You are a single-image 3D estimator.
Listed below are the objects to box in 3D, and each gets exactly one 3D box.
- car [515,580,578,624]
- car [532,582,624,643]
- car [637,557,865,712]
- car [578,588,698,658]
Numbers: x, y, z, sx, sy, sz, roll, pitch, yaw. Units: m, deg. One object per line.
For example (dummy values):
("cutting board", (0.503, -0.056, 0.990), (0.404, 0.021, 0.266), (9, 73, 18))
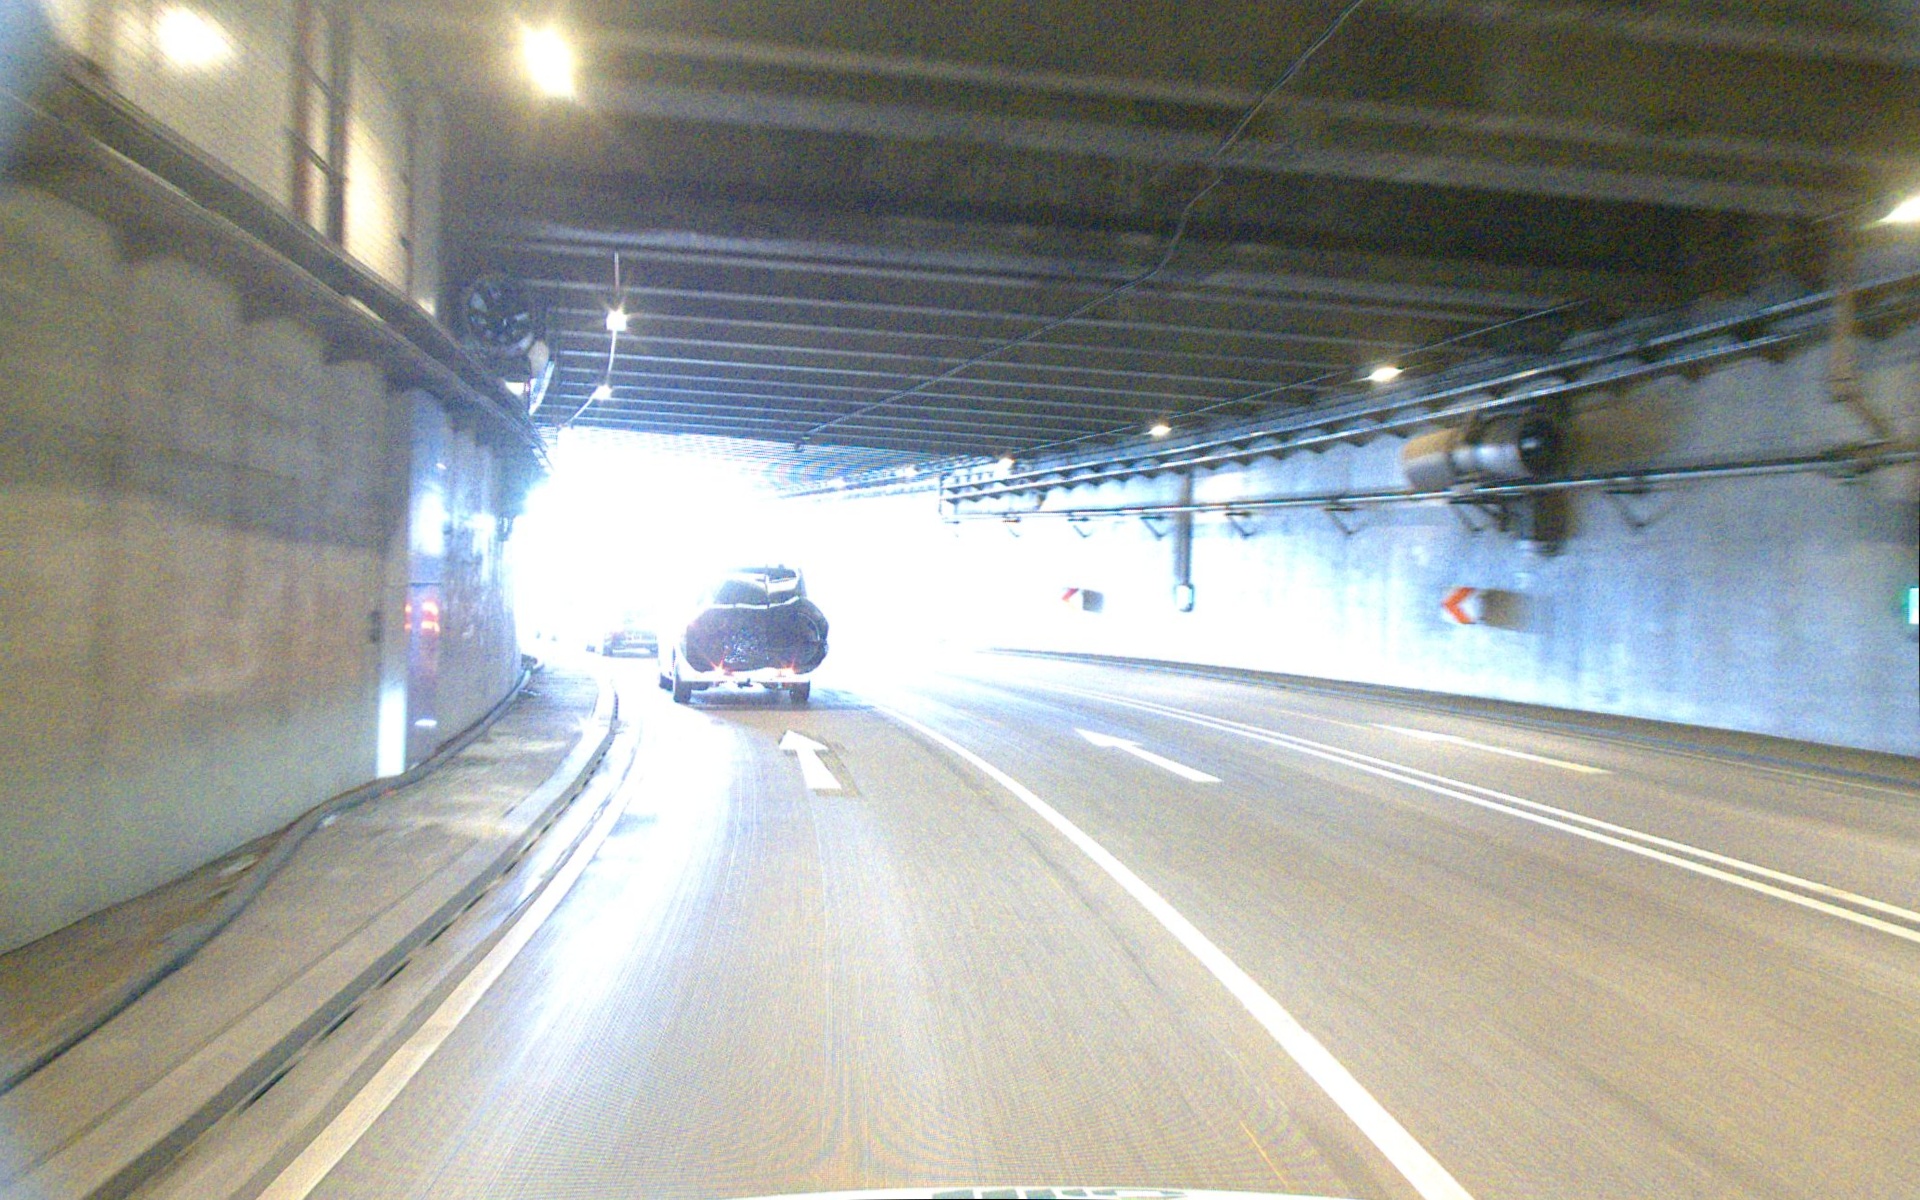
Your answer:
("car", (-16.961, 0.066, 67.696), (1.965, 1.693, 3.975), (2, 0, -21))
("car", (-10.842, 0.337, 46.702), (1.894, 1.514, 4.039), (3, 0, -22))
("car", (-3.081, 0.390, 23.149), (1.964, 1.891, 5.607), (-1, 1, -20))
("car", (-7.318, 0.479, 37.299), (1.791, 1.459, 4.035), (2, 0, -24))
